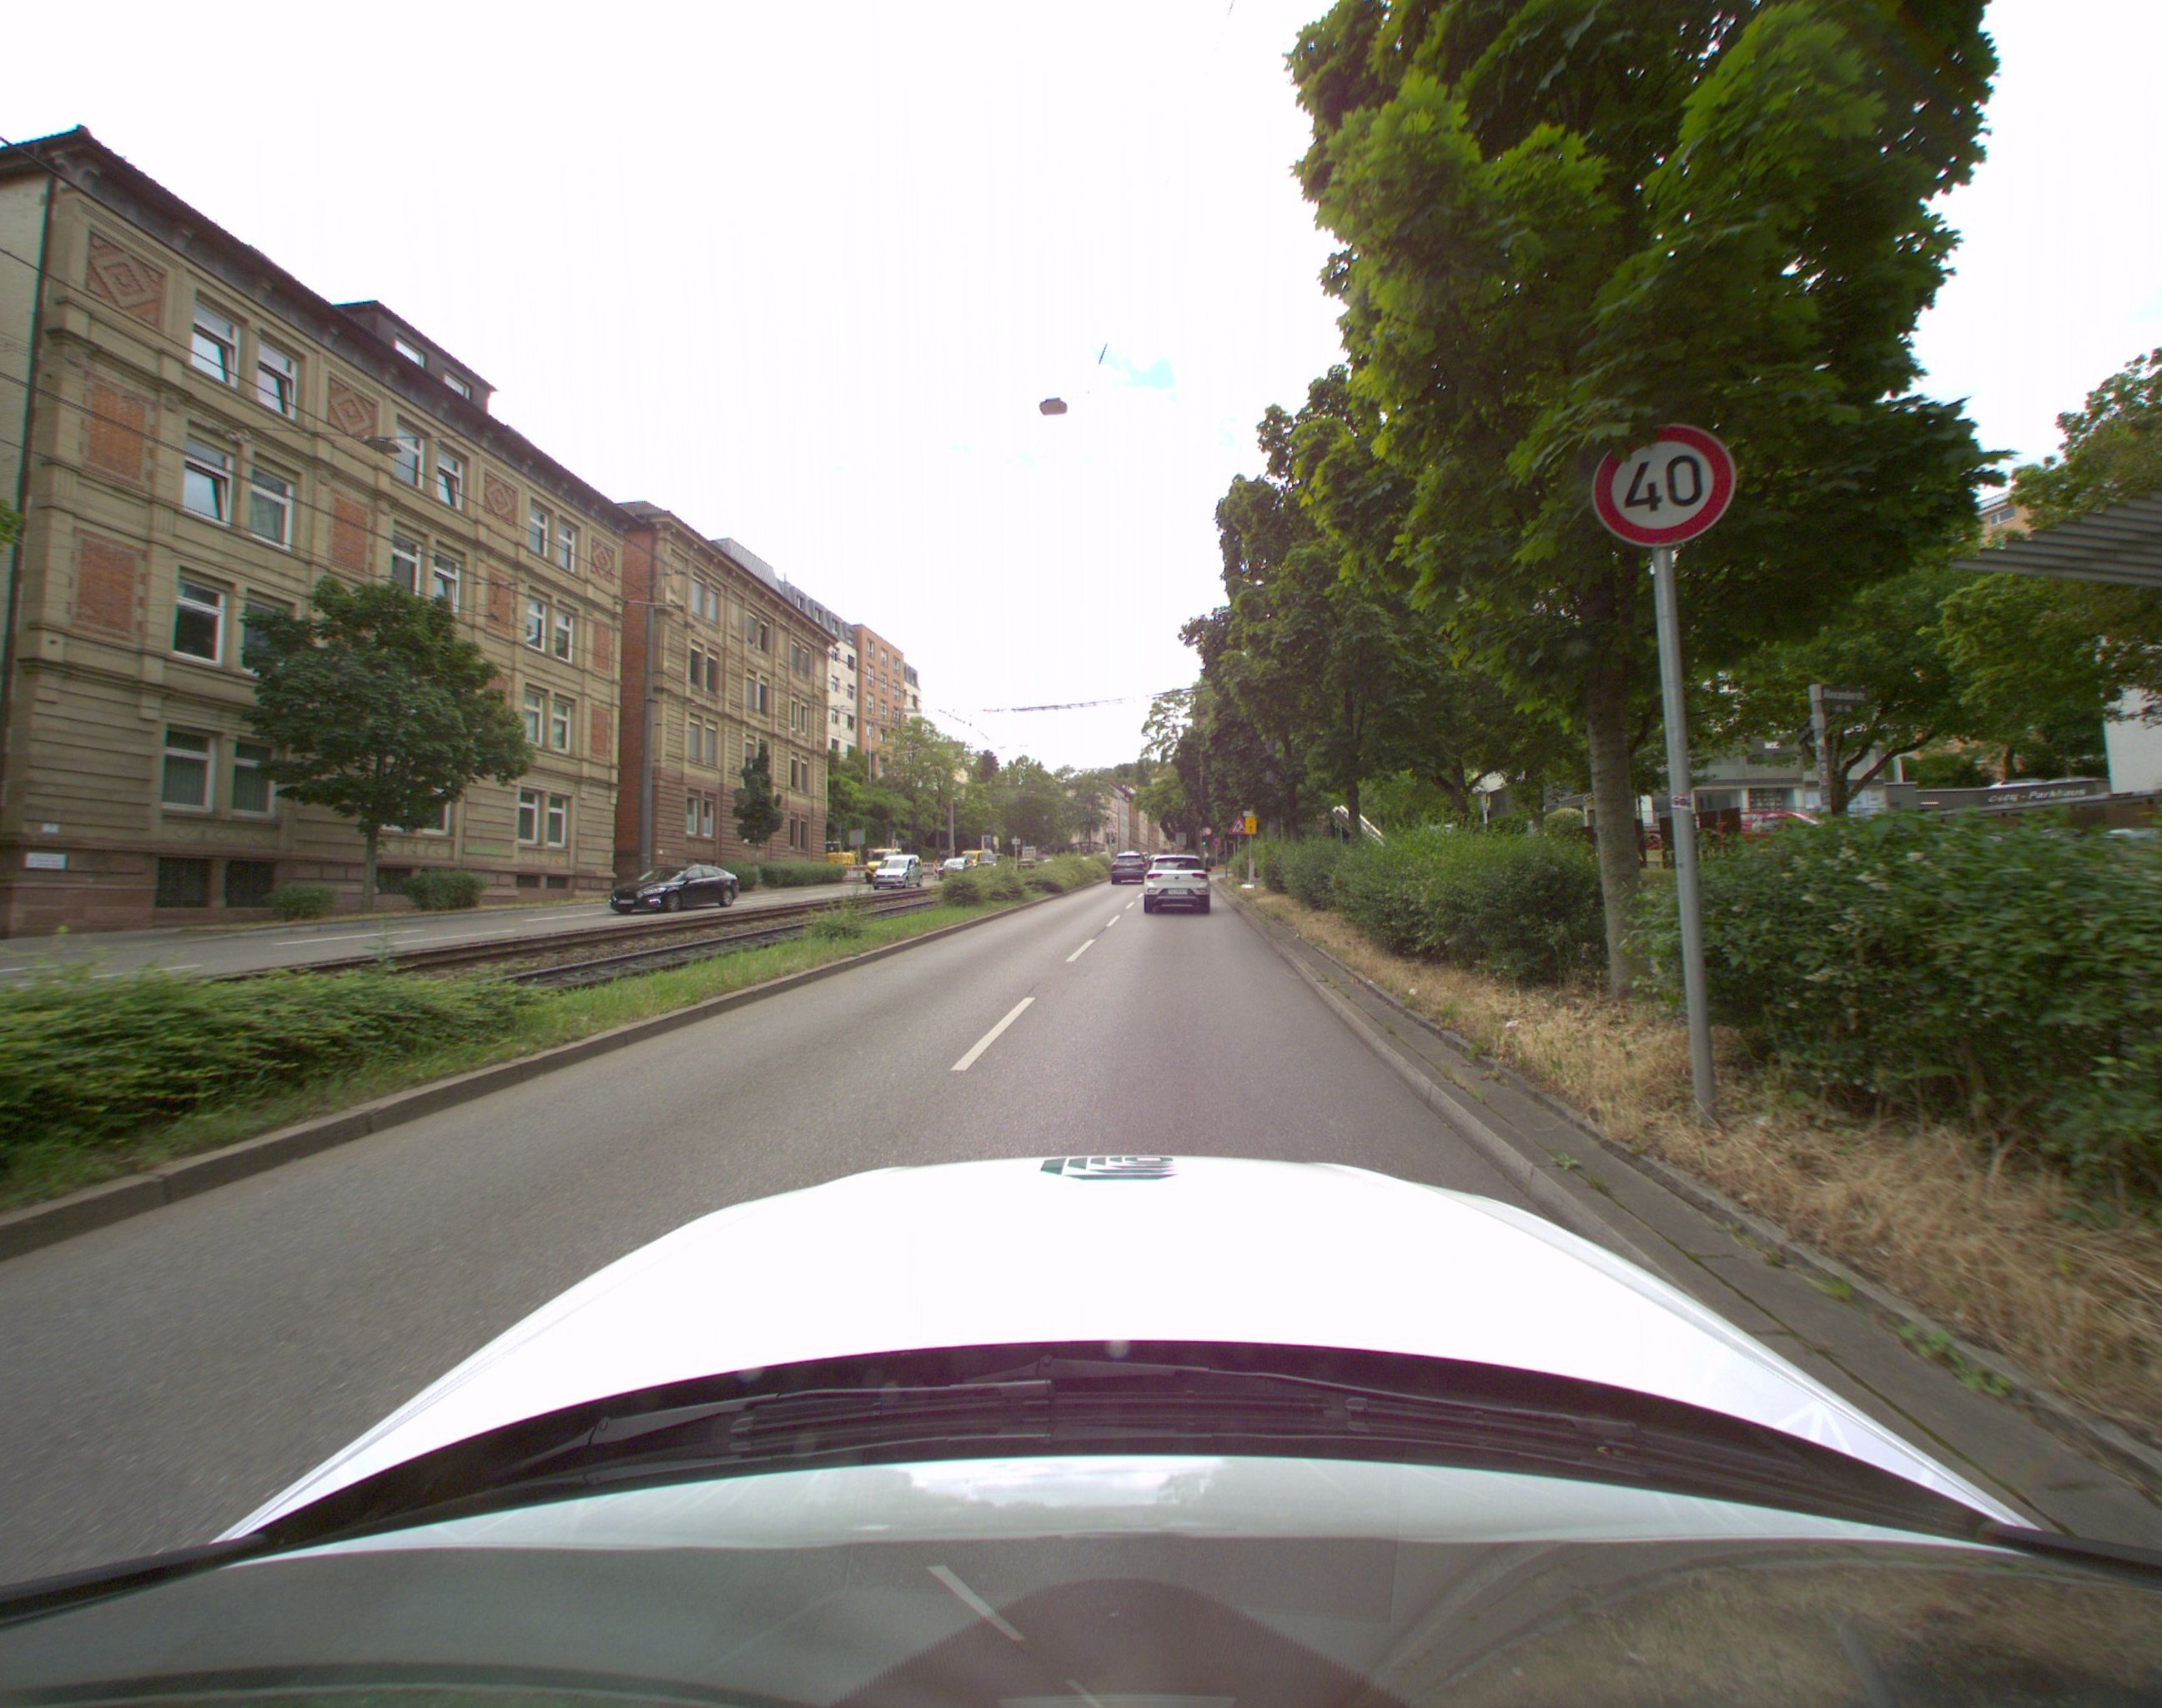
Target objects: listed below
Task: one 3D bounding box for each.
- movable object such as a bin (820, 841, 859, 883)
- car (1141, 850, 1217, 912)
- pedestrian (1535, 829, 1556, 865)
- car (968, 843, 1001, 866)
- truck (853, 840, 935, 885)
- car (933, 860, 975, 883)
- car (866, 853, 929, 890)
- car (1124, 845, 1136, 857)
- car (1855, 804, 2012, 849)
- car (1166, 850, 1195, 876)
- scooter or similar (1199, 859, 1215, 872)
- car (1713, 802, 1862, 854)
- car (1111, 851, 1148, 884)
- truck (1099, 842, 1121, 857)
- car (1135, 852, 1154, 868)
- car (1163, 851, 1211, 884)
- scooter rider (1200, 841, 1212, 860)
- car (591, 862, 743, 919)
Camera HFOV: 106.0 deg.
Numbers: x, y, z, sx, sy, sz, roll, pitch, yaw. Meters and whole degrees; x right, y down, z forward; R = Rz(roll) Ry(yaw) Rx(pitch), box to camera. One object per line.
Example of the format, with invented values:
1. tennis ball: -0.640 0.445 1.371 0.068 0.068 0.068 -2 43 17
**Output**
1. movable object such as a bin: -16.728 0.543 56.468 1.986 2.838 2.030 -1 -1 2
2. car: 2.693 0.732 23.033 1.929 1.566 4.051 1 -1 5
3. pedestrian: 20.798 -0.309 36.479 0.546 1.542 0.621 -2 -1 5
4. car: -8.256 0.110 69.993 1.891 1.876 4.646 1 -1 4
5. truck: -12.364 0.683 54.629 2.902 2.510 7.167 -5 -3 7
6. car: -8.960 1.261 57.764 1.855 1.555 4.445 0 -1 6
7. car: -9.769 0.922 43.726 1.870 1.788 4.524 -3 -1 6
8. car: 9.268 -0.564 153.255 1.982 2.014 4.008 -2 -1 8
9. car: 34.959 -1.081 33.553 1.754 1.508 4.118 3 -3 -22
10. car: 7.343 0.713 59.878 1.983 1.624 4.006 -3 -4 7
11. scooter or similar: 10.457 0.956 67.587 1.188 0.994 0.529 -2 -1 -12
12. car: 33.151 -1.133 38.415 2.030 2.029 4.946 2 -3 -21
13. car: 2.728 0.738 44.994 1.830 1.740 4.007 0 -1 6
14. truck: 4.616 -0.743 130.147 2.406 2.169 6.055 1 2 12
15. car: 9.698 0.861 123.960 2.408 2.169 6.049 3 1 9
16. car: 5.325 0.724 41.352 1.896 1.574 3.833 2 -2 0
17. scooter rider: 10.404 -0.286 67.603 0.778 1.558 0.530 -2 -1 -12
18. car: -13.043 1.084 26.099 1.809 1.450 4.958 0 2 7
